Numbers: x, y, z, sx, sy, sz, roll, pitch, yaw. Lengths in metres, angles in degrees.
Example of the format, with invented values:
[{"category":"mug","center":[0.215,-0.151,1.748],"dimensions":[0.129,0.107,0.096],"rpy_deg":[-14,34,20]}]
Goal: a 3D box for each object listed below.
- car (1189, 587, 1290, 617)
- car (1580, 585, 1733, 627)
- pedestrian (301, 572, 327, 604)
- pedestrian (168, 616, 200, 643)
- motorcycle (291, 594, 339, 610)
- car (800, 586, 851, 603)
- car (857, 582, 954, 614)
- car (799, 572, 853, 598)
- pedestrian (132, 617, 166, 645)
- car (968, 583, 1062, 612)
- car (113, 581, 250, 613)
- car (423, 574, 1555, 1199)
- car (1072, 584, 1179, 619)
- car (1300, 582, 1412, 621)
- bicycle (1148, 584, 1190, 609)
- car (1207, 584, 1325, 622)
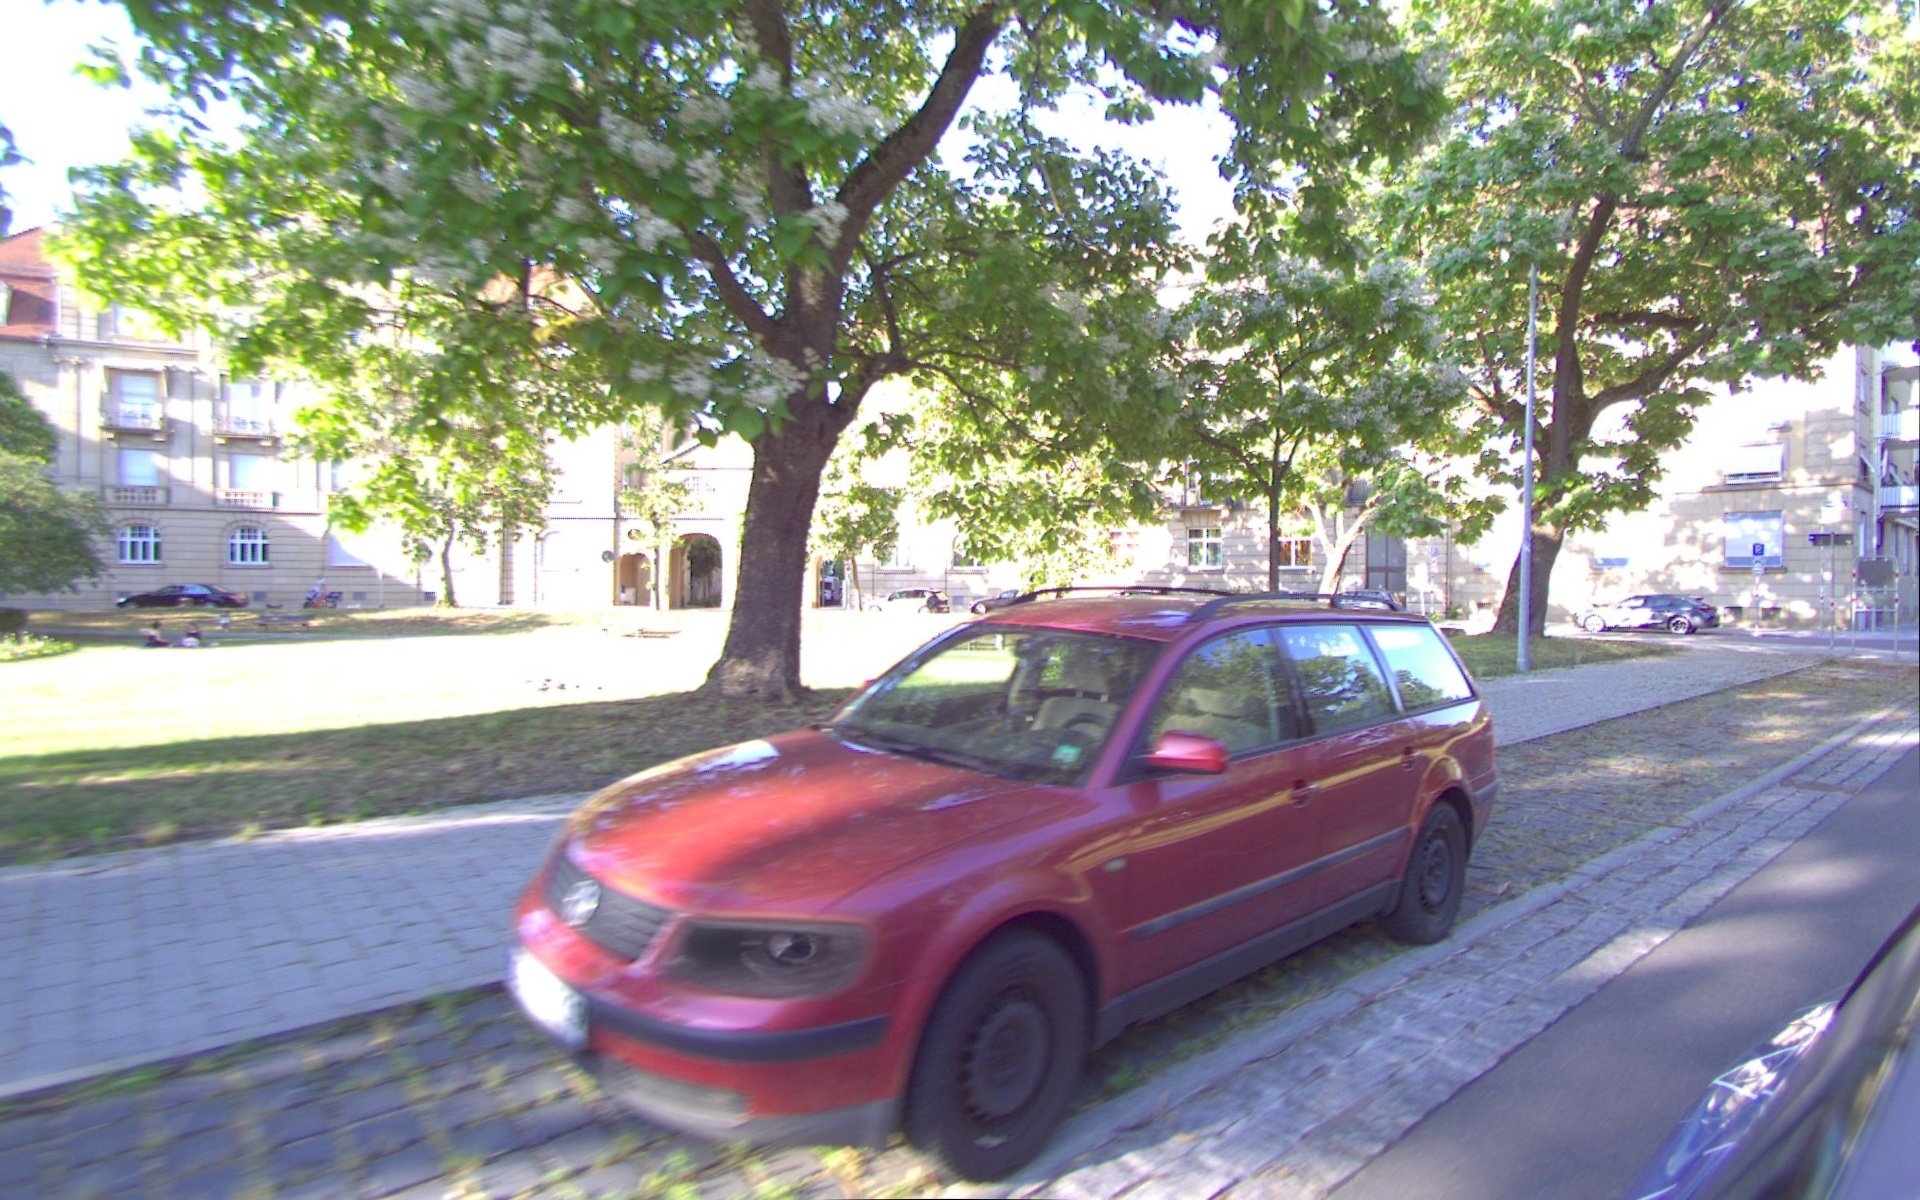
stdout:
[{"category":"car","center":[13.171,0.059,47.753],"dimensions":[4.412,1.340,1.491],"rpy_deg":[1,1,28]},{"category":"car","center":[25.868,0.173,37.680],"dimensions":[1.905,1.436,4.441],"rpy_deg":[-1,2,-45]},{"category":"pedestrian","center":[-30.188,-0.560,47.285],"dimensions":[0.933,1.493,0.682],"rpy_deg":[-1,1,-38]},{"category":"pedestrian","center":[-26.254,0.982,34.246],"dimensions":[0.664,0.892,0.578],"rpy_deg":[-1,0,-3]},{"category":"motorcycle","center":[-30.143,0.087,47.325],"dimensions":[1.825,0.679,0.682],"rpy_deg":[-1,2,-38]},{"category":"car","center":[-11.485,-0.462,86.787],"dimensions":[4.284,1.435,1.822],"rpy_deg":[0,1,-5]},{"category":"car","center":[-2.632,-0.126,48.512],"dimensions":[4.317,1.435,1.808],"rpy_deg":[1,1,21]},{"category":"car","center":[-11.003,-1.219,83.092],"dimensions":[4.286,2.134,1.821],"rpy_deg":[0,1,-3]},{"category":"pedestrian","center":[-26.534,1.011,33.122],"dimensions":[0.664,0.892,0.578],"rpy_deg":[-1,0,-3]},{"category":"car","center":[2.870,-0.163,52.873],"dimensions":[4.589,1.435,1.809],"rpy_deg":[1,1,19]},{"category":"car","center":[-37.028,-0.161,48.291],"dimensions":[4.845,1.435,1.824],"rpy_deg":[0,1,-16]},{"category":"car","center":[0.629,0.648,4.109],"dimensions":[4.726,1.504,1.681],"rpy_deg":[-1,2,-41]},{"category":"car","center":[7.222,0.026,44.227],"dimensions":[4.395,1.435,1.552],"rpy_deg":[1,1,27]},{"category":"car","center":[17.548,0.016,44.904],"dimensions":[4.420,1.619,1.782],"rpy_deg":[1,1,33]},{"category":"bicycle","center":[11.028,-0.197,53.522],"dimensions":[2.102,1.245,0.609],"rpy_deg":[1,1,26]},{"category":"car","center":[12.478,0.087,41.310],"dimensions":[4.330,1.435,1.826],"rpy_deg":[1,1,30]}]
